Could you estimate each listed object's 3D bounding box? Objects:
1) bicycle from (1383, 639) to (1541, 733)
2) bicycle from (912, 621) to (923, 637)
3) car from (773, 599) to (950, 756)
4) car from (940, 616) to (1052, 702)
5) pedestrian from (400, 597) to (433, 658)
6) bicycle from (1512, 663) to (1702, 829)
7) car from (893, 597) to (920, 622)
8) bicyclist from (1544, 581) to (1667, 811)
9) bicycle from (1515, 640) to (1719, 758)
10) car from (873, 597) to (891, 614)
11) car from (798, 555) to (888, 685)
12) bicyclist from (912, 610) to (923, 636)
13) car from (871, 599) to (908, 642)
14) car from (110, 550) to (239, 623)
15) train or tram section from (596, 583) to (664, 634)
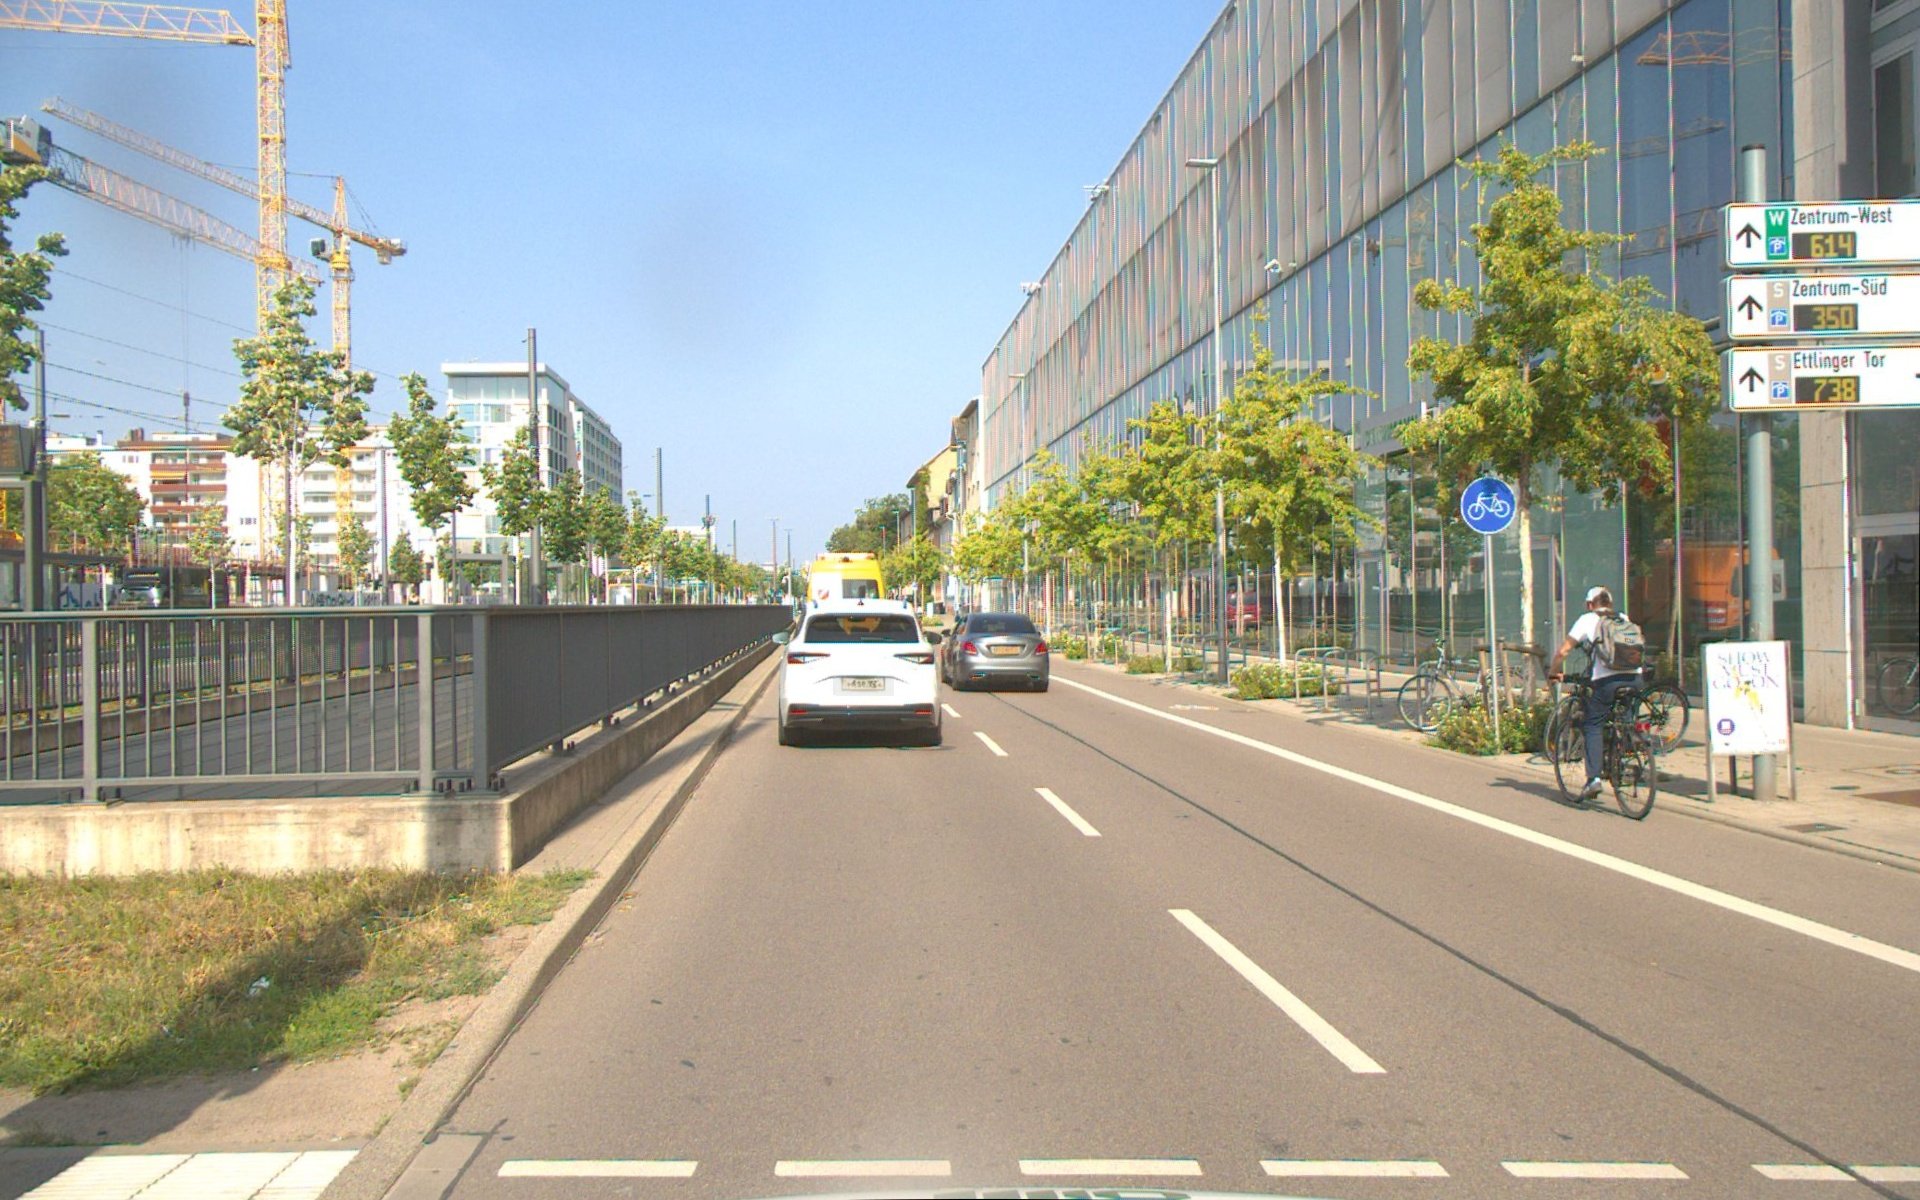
[{"bbox_3d":[6.350,1.082,20.955,1.841,1.129,0.490,-1,0,-3],"label":"bicycle"},{"bbox_3d":[-2.664,1.827,103.114,0.642,0.955,1.516,-1,0,-3],"label":"bicycle"},{"bbox_3d":[-1.183,0.808,19.350,1.833,1.602,3.996,-1,0,-5],"label":"car"},{"bbox_3d":[0.621,1.071,31.470,1.726,1.461,4.111,1,0,-4],"label":"car"},{"bbox_3d":[-14.856,0.748,45.210,0.721,1.647,0.710,-1,-1,-6],"label":"pedestrian"},{"bbox_3d":[5.153,1.126,13.327,0.647,1.137,2.050,-1,0,-2],"label":"bicycle"},{"bbox_3d":[-4.521,0.808,139.529,2.023,2.049,4.583,-1,0,-5],"label":"car"},{"bbox_3d":[5.157,0.746,13.243,0.638,1.779,0.769,-1,0,-2],"label":"bicyclist"},{"bbox_3d":[6.651,0.994,16.792,1.802,1.132,0.686,1,0,-3],"label":"bicycle"},{"bbox_3d":[-8.674,0.613,182.879,1.777,1.844,3.831,-1,0,-5],"label":"car"},{"bbox_3d":[-2.841,0.377,39.992,1.981,2.844,5.396,-1,2,-5],"label":"car"},{"bbox_3d":[-2.640,1.428,103.032,0.626,1.604,0.770,-1,0,-3],"label":"bicyclist"},{"bbox_3d":[-3.487,0.987,81.200,1.753,2.049,3.997,1,-1,-3],"label":"car"},{"bbox_3d":[-40.465,-0.628,85.584,2.995,3.574,9.223,0,0,-5],"label":"car"},{"bbox_3d":[-25.939,0.673,130.874,2.848,3.740,18.121,1,-1,-4],"label":"train or tram section"}]
